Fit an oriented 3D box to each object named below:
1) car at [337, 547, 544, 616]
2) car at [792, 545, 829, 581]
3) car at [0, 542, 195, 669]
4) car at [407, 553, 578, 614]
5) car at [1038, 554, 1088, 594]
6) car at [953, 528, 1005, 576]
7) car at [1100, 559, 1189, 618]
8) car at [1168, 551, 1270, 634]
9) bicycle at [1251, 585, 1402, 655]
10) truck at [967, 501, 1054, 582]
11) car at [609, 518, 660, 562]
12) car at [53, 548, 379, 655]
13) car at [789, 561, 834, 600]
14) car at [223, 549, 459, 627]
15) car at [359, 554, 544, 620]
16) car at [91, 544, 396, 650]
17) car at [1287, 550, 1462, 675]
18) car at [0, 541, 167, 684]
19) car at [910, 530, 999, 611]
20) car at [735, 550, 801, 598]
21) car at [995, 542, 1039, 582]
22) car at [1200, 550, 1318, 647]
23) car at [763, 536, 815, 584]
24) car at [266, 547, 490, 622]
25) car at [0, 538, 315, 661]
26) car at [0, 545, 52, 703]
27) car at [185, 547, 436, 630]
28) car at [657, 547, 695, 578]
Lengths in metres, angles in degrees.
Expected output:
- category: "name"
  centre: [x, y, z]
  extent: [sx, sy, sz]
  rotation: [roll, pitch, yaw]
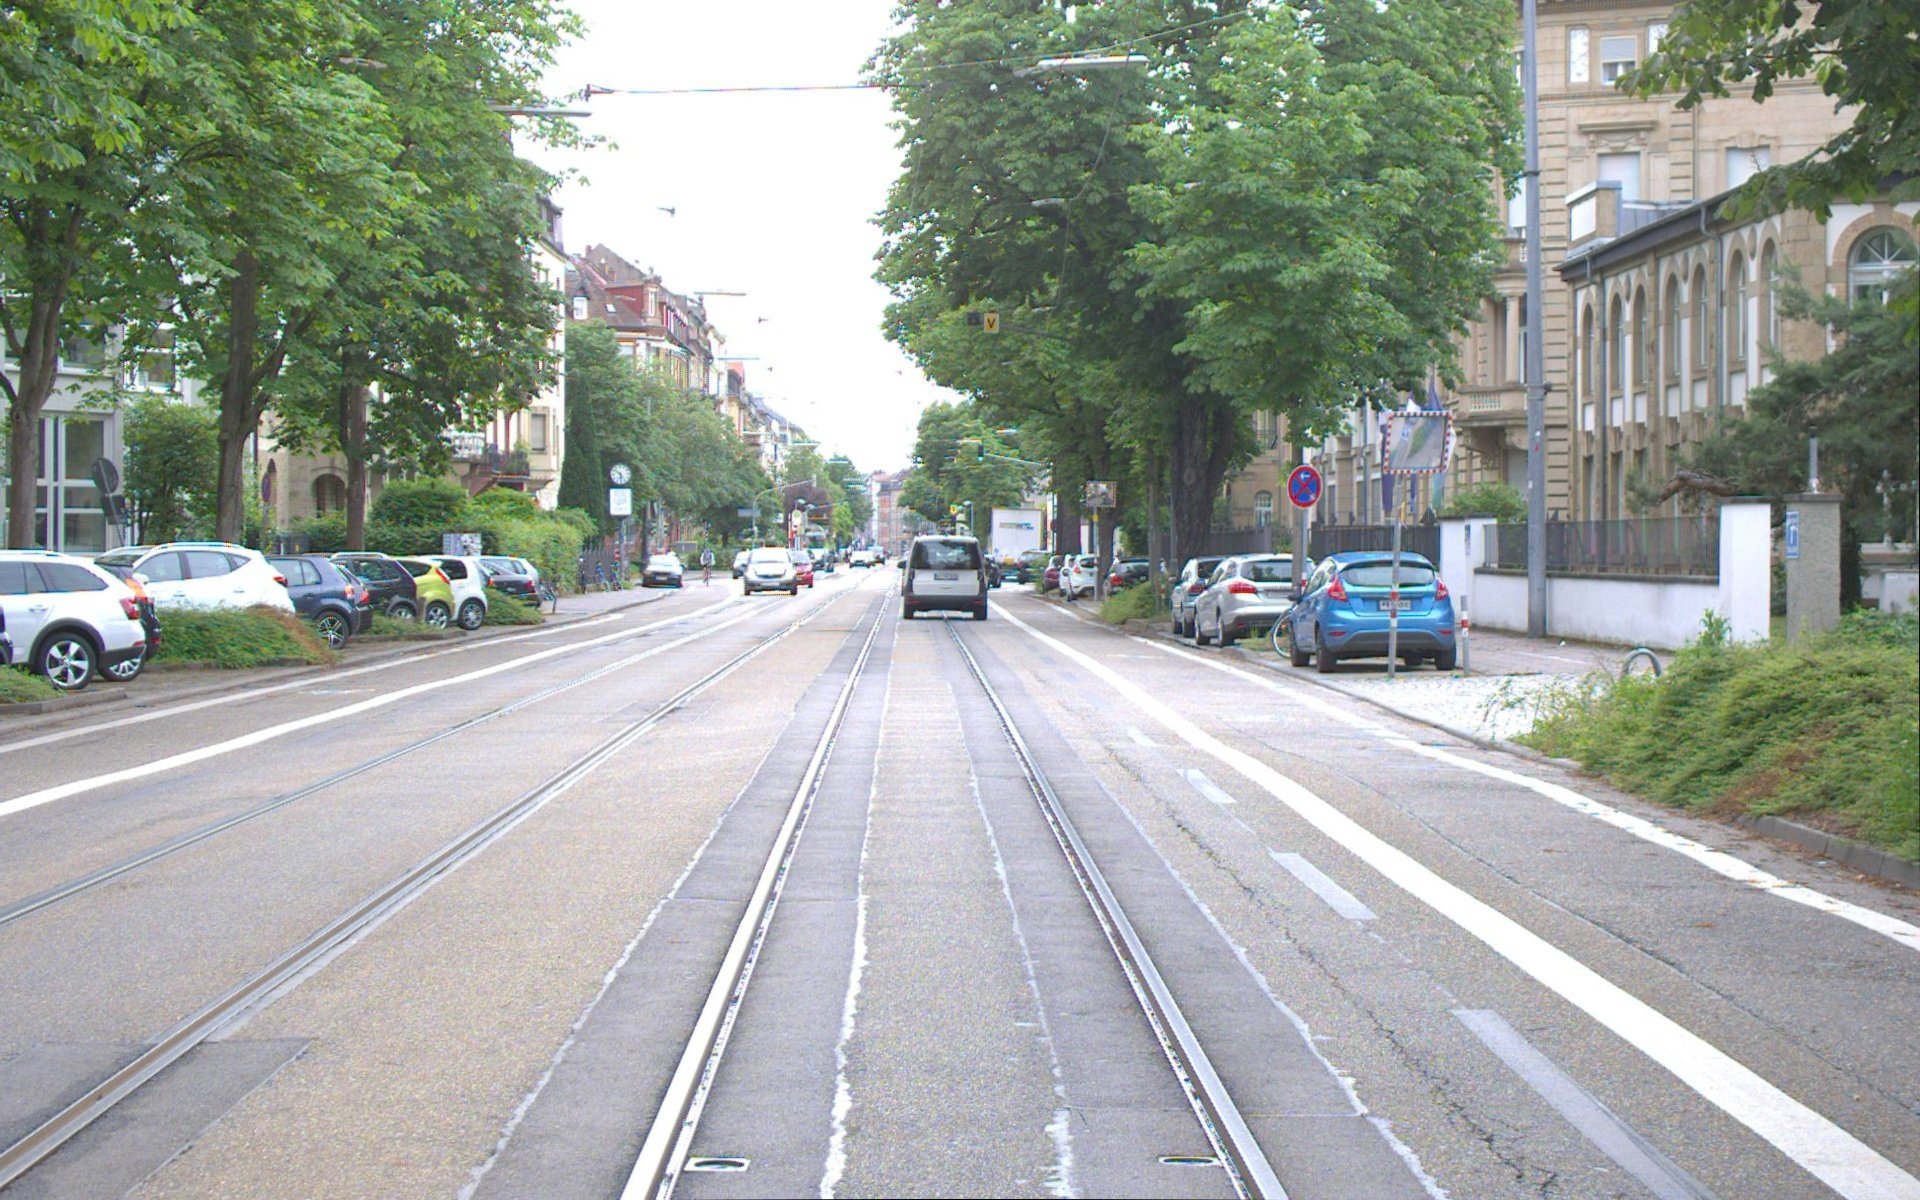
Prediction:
- category: "car"
  centre: [-10.649, -0.370, 70.612]
  extent: [1.699, 1.347, 3.958]
  rotation: [2, 1, 44]
- category: "car"
  centre: [-9.431, -2.372, 217.267]
  extent: [2.205, 2.248, 4.000]
  rotation: [0, 1, -1]
- category: "car"
  centre: [-10.954, 0.046, 39.138]
  extent: [4.016, 1.401, 1.699]
  rotation: [1, 1, -38]
- category: "car"
  centre: [-11.196, -0.396, 82.285]
  extent: [3.707, 1.381, 1.700]
  rotation: [1, 1, -25]
- category: "car"
  centre: [3.708, -0.955, 123.656]
  extent: [1.770, 1.394, 3.795]
  rotation: [0, 1, 2]
- category: "car"
  centre: [0.798, -2.054, 147.741]
  extent: [1.993, 2.007, 4.001]
  rotation: [1, 1, -2]
- category: "car"
  centre: [4.080, -0.267, 76.429]
  extent: [1.873, 1.247, 4.000]
  rotation: [0, 1, 2]
- category: "car"
  centre: [4.636, -0.154, 61.796]
  extent: [1.475, 1.424, 3.566]
  rotation: [1, 1, -1]
- category: "bicycle"
  centre: [5.074, 0.274, 47.603]
  extent: [2.012, 0.953, 0.534]
  rotation: [0, 1, -4]
- category: "truck"
  centre: [2.513, -3.016, 177.069]
  extent: [3.807, 4.016, 10.219]
  rotation: [1, 1, -3]
- category: "car"
  centre: [-16.858, -3.102, 178.155]
  extent: [2.177, 2.199, 4.219]
  rotation: [0, 1, 0]
- category: "car"
  centre: [-10.651, 0.021, 49.431]
  extent: [1.699, 1.449, 4.335]
  rotation: [2, 1, 44]
- category: "car"
  centre: [-5.971, -0.791, 138.361]
  extent: [1.676, 1.517, 2.782]
  rotation: [1, 0, 0]
- category: "car"
  centre: [-11.212, -0.212, 62.441]
  extent: [1.699, 1.347, 3.958]
  rotation: [2, 1, 44]
- category: "car"
  centre: [-11.261, -0.283, 76.172]
  extent: [3.707, 1.381, 1.700]
  rotation: [1, 1, -25]
- category: "car"
  centre: [-10.933, -0.048, 52.657]
  extent: [1.699, 1.530, 4.335]
  rotation: [2, 1, 44]
- category: "car"
  centre: [5.123, 0.126, 42.851]
  extent: [1.674, 1.455, 3.433]
  rotation: [1, 1, -1]
- category: "car"
  centre: [-10.635, 0.114, 36.378]
  extent: [4.016, 1.479, 1.699]
  rotation: [1, 1, -38]
- category: "car"
  centre: [-0.092, -0.645, 75.656]
  extent: [1.812, 1.702, 3.698]
  rotation: [1, 0, 2]
- category: "car"
  centre: [-6.395, -0.888, 114.935]
  extent: [1.900, 1.525, 3.754]
  rotation: [-1, 1, 1]
- category: "car"
  centre: [2.654, -1.757, 160.065]
  extent: [1.884, 1.839, 4.000]
  rotation: [1, 0, -1]
- category: "car"
  centre: [4.729, -0.049, 54.741]
  extent: [1.475, 1.476, 3.566]
  rotation: [1, 1, -1]
- category: "car"
  centre: [-8.672, -2.028, 174.339]
  extent: [2.205, 2.409, 4.000]
  rotation: [0, 1, 3]
- category: "car"
  centre: [-11.054, -0.287, 65.438]
  extent: [1.699, 1.347, 3.958]
  rotation: [2, 1, 44]
- category: "car"
  centre: [-10.915, -0.013, 46.084]
  extent: [1.698, 1.550, 4.336]
  rotation: [2, 1, 41]
- category: "car"
  centre: [-10.804, 0.208, 32.945]
  extent: [3.696, 1.519, 1.699]
  rotation: [0, 1, -45]
- category: "car"
  centre: [-11.137, -0.191, 59.097]
  extent: [1.699, 1.347, 3.958]
  rotation: [2, 1, 44]
- category: "car"
  centre: [-12.643, -1.666, 153.007]
  extent: [1.641, 1.349, 3.878]
  rotation: [1, 1, -4]
